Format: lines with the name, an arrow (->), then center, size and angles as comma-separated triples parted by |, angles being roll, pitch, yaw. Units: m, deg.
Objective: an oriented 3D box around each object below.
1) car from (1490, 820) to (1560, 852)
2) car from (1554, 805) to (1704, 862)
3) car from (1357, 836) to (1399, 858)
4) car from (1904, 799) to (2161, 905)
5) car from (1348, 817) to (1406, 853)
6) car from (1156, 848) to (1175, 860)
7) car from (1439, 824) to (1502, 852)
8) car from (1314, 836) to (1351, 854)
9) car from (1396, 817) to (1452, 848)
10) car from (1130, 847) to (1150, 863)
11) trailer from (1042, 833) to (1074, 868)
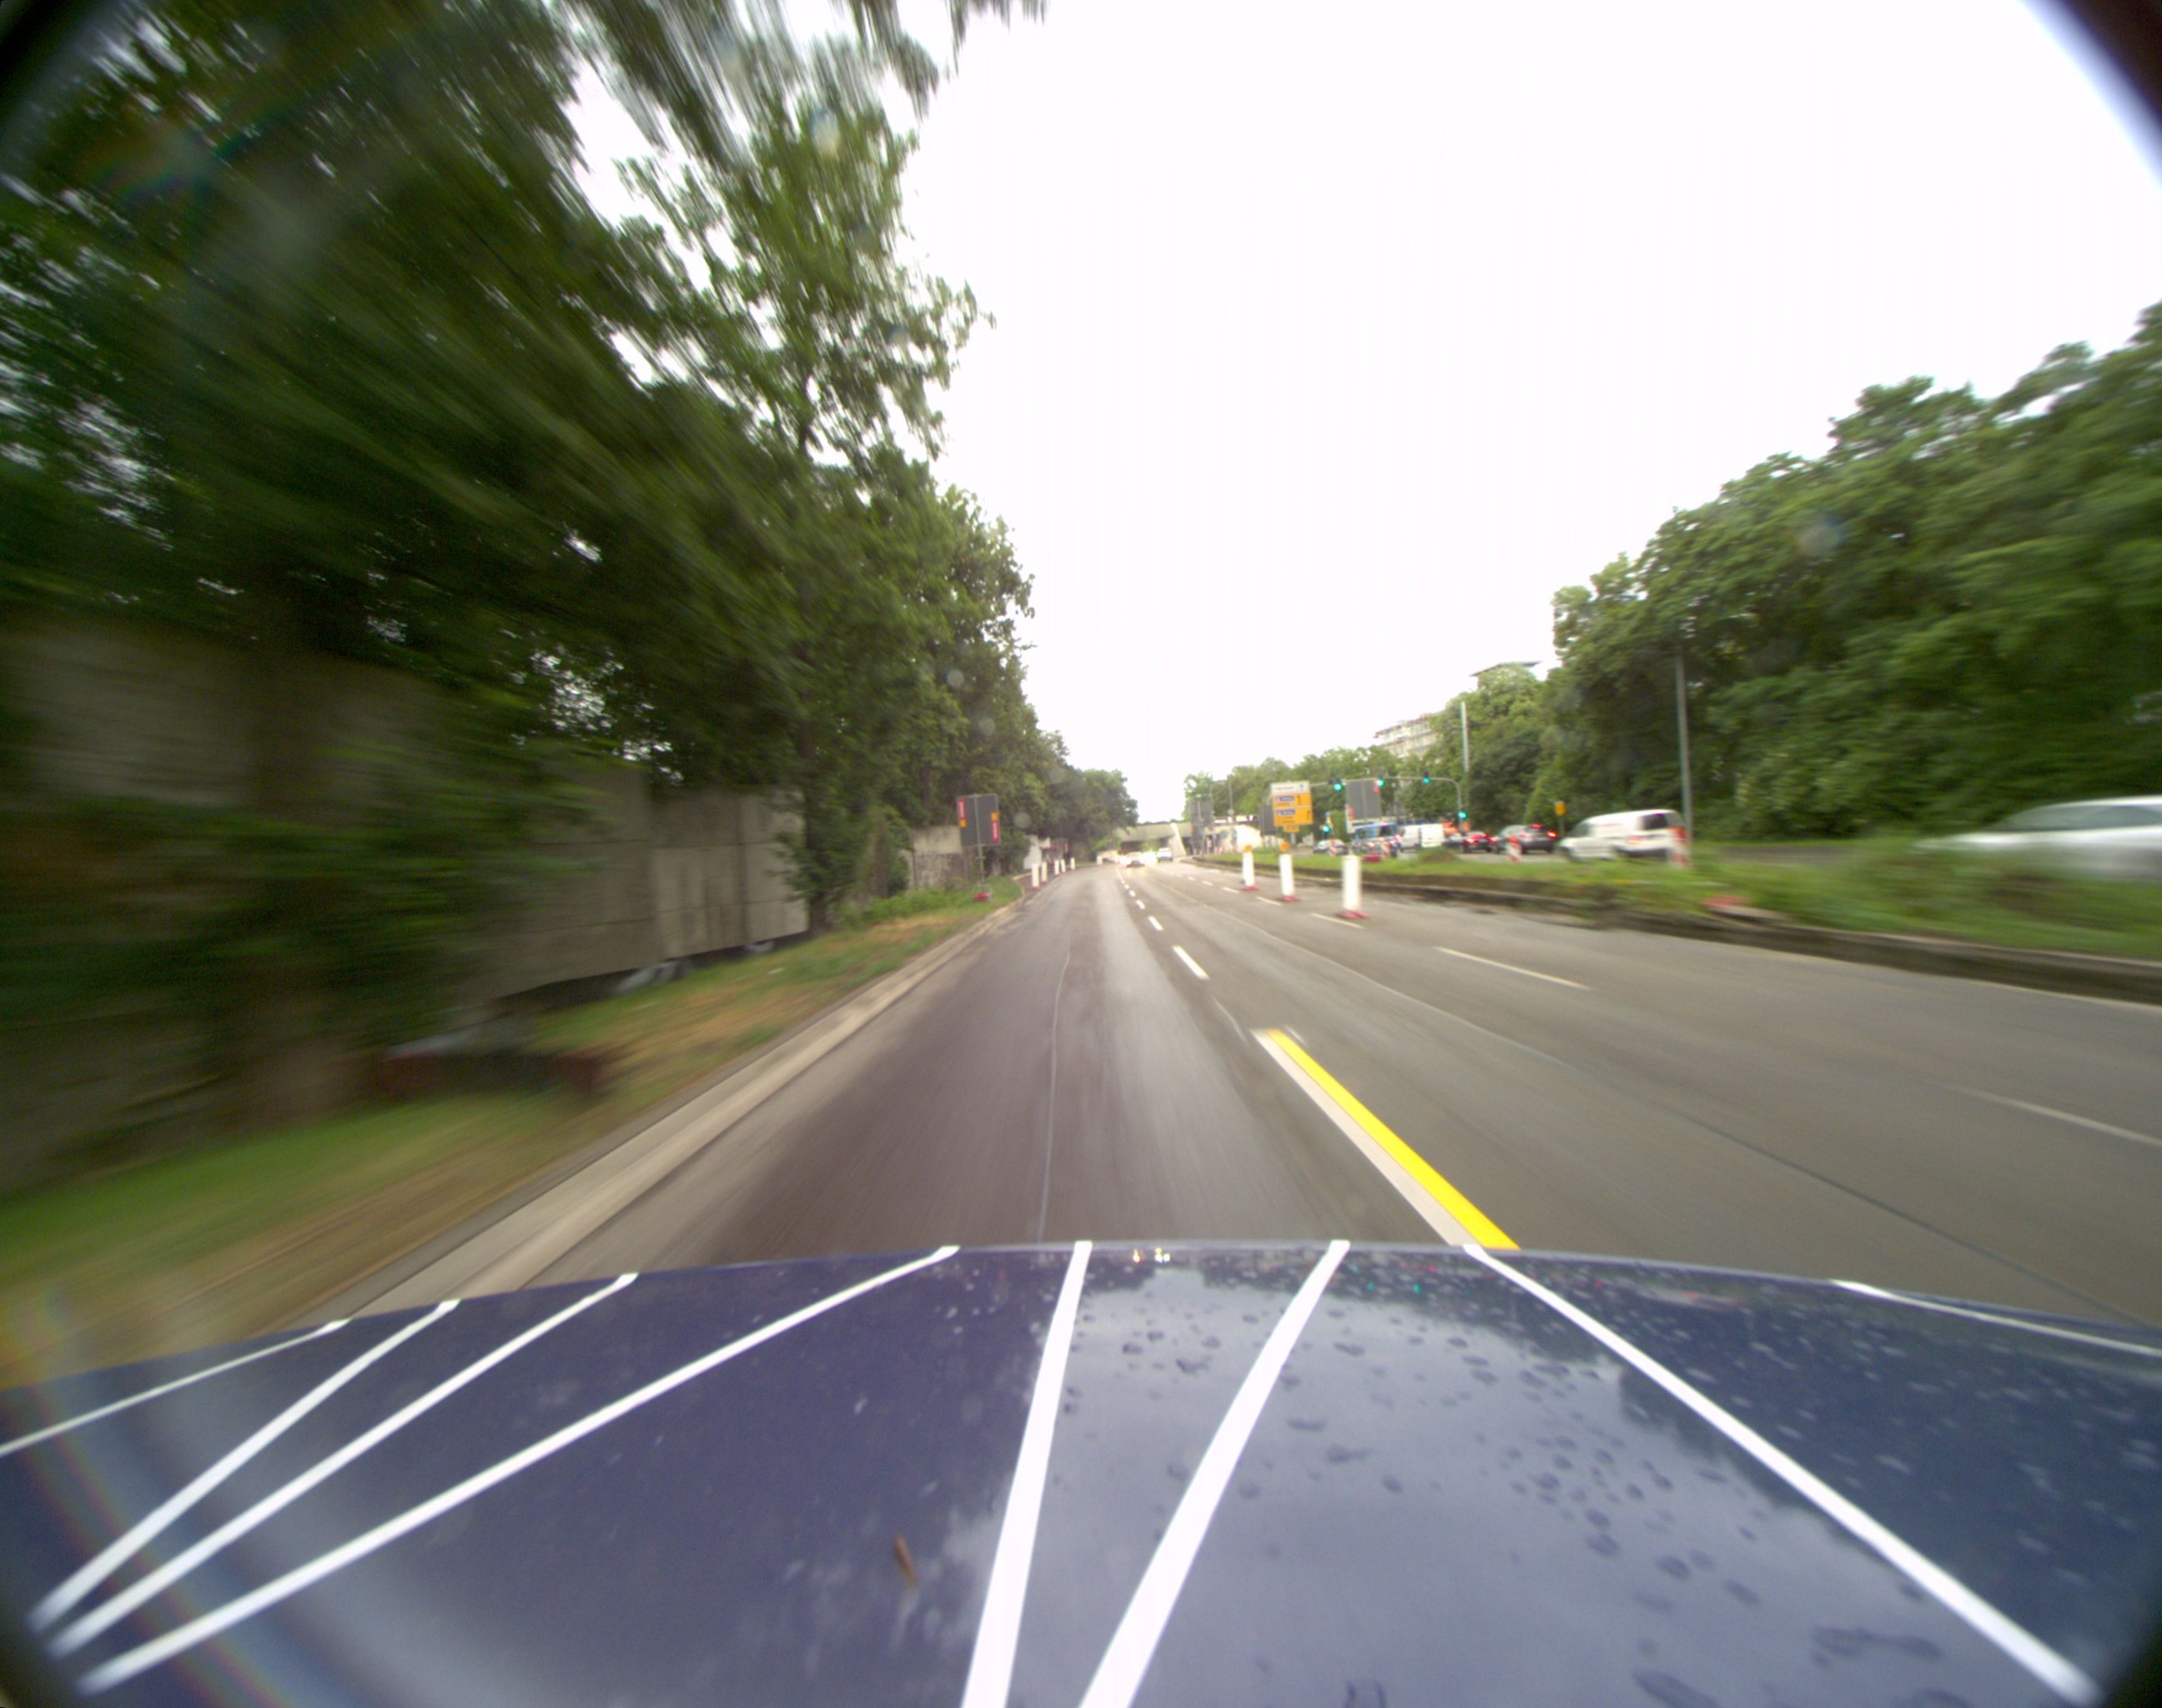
car -> 23.715, -0.955, 40.711 | 1.675, 1.514, 3.790 | -4, 1, 5
car -> 19.864, -0.677, 27.864 | 1.919, 1.771, 4.833 | -4, 0, 0
car -> 18.134, -0.450, 46.554 | 1.433, 1.193, 3.300 | -4, 1, 5
car -> 16.198, -0.081, 11.753 | 1.860, 1.477, 4.678 | -3, 0, 1
car -> 22.133, -1.332, 57.164 | 2.200, 2.376, 6.246 | -5, 0, 4
car -> 10.018, -0.028, 90.527 | 1.698, 1.300, 3.824 | -4, 0, 0
car -> 24.385, -1.008, 47.753 | 1.797, 1.514, 4.635 | -4, 1, 5
car -> 18.779, -0.700, 56.938 | 1.552, 1.193, 4.647 | -4, 1, 6
car -> 25.316, -1.515, 56.225 | 2.039, 1.962, 4.992 | -5, 0, 4
car -> 5.882, 0.068, 76.001 | 1.698, 1.393, 3.824 | -4, 1, 0
trailer -> -2.431, -0.434, 82.191 | 2.312, 3.568, 5.963 | -3, 1, 9
